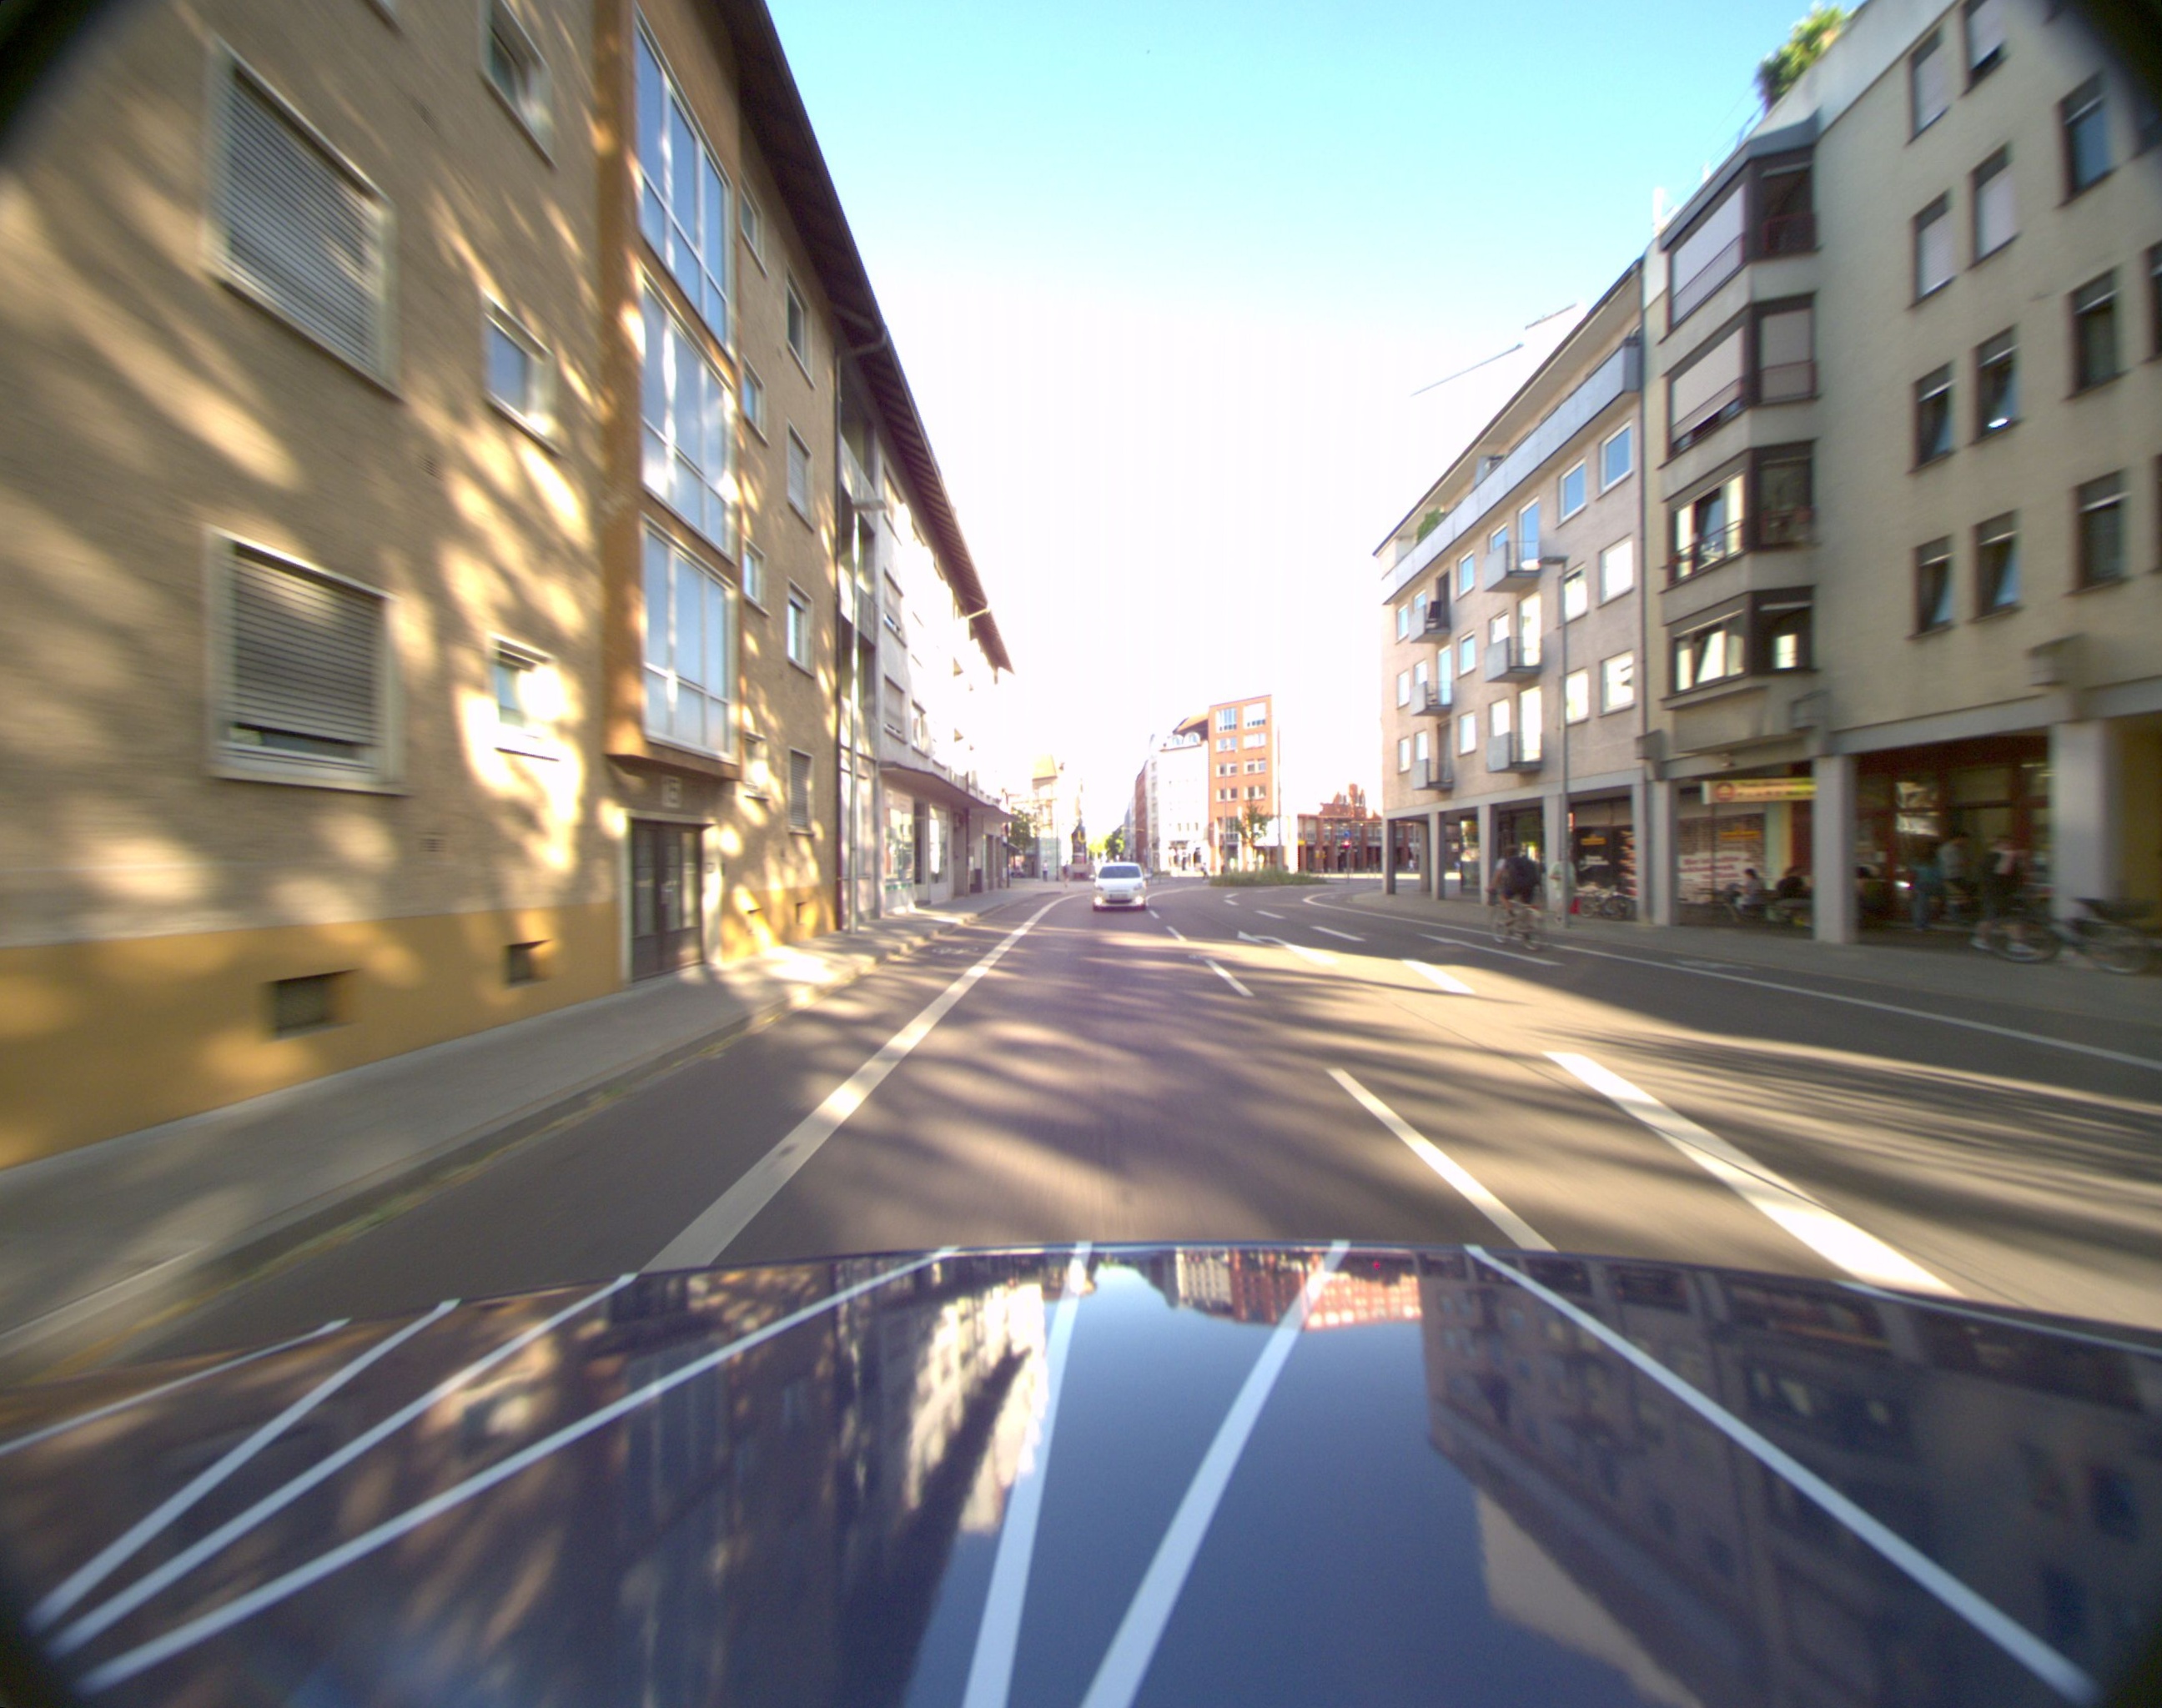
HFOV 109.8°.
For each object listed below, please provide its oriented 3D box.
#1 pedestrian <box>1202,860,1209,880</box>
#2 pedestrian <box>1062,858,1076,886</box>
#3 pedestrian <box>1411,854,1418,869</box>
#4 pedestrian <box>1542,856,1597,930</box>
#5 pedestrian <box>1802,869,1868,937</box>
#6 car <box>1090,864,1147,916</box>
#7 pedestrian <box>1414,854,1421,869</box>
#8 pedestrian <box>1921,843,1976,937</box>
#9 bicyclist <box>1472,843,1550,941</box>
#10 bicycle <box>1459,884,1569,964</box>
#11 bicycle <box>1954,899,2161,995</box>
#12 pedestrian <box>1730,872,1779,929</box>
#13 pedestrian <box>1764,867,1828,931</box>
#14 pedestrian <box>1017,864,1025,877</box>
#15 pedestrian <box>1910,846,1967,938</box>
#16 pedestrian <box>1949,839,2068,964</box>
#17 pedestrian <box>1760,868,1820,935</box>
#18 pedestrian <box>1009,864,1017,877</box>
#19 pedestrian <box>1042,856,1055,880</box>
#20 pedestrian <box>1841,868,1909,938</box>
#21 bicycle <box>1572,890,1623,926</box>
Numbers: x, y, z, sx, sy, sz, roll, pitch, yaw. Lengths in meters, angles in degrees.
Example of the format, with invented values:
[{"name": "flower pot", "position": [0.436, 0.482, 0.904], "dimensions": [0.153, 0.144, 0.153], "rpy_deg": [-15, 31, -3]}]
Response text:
[{"name": "pedestrian", "position": [10.732, 1.359, 65.405], "dimensions": [0.593, 1.737, 0.502], "rpy_deg": [-2, 1, 9]}, {"name": "pedestrian", "position": [-0.820, 1.193, 51.168], "dimensions": [0.706, 1.809, 0.708], "rpy_deg": [3, 1, 16]}, {"name": "pedestrian", "position": [41.155, 0.938, 93.749], "dimensions": [0.553, 1.737, 0.716], "rpy_deg": [-1, 1, 45]}, {"name": "pedestrian", "position": [11.795, 0.934, 18.362], "dimensions": [0.834, 1.730, 0.723], "rpy_deg": [-1, 1, 2]}, {"name": "pedestrian", "position": [15.259, 0.982, 15.397], "dimensions": [0.710, 1.345, 0.615], "rpy_deg": [-1, 1, 7]}, {"name": "car", "position": [1.270, 1.090, 24.491], "dimensions": [1.682, 1.490, 3.686], "rpy_deg": [0, 0, 5]}, {"name": "pedestrian", "position": [41.833, 0.920, 94.386], "dimensions": [0.553, 1.737, 0.716], "rpy_deg": [-1, 1, 45]}, {"name": "pedestrian", "position": [16.554, 0.663, 14.513], "dimensions": [0.613, 1.732, 0.713], "rpy_deg": [-1, 1, 43]}, {"name": "bicyclist", "position": [7.509, 0.638, 13.316], "dimensions": [0.730, 1.631, 1.168], "rpy_deg": [0, 0, 2]}, {"name": "bicycle", "position": [7.499, 1.166, 13.295], "dimensions": [0.730, 1.192, 2.179], "rpy_deg": [1, 0, 2]}, {"name": "bicycle", "position": [12.902, 1.165, 10.034], "dimensions": [0.449, 1.039, 2.011], "rpy_deg": [0, 0, 1]}, {"name": "pedestrian", "position": [15.590, 1.066, 17.598], "dimensions": [0.568, 1.260, 0.689], "rpy_deg": [-1, 0, 12]}, {"name": "pedestrian", "position": [15.554, 0.971, 16.545], "dimensions": [0.710, 1.328, 0.740], "rpy_deg": [-1, 0, 6]}, {"name": "pedestrian", "position": [-5.882, 1.607, 74.396], "dimensions": [0.707, 1.225, 0.770], "rpy_deg": [2, 1, -8]}, {"name": "pedestrian", "position": [15.918, 0.685, 14.119], "dimensions": [0.613, 1.656, 0.713], "rpy_deg": [-1, 1, 43]}, {"name": "pedestrian", "position": [14.333, 0.710, 11.767], "dimensions": [0.825, 1.859, 0.806], "rpy_deg": [-2, 1, 0]}, {"name": "pedestrian", "position": [14.918, 0.993, 15.996], "dimensions": [0.614, 1.360, 0.712], "rpy_deg": [-1, 0, 7]}, {"name": "pedestrian", "position": [-6.643, 1.580, 74.276], "dimensions": [0.707, 1.235, 0.765], "rpy_deg": [2, 1, -8]}, {"name": "pedestrian", "position": [-2.590, 1.123, 60.619], "dimensions": [0.709, 1.809, 0.705], "rpy_deg": [2, 1, -42]}, {"name": "pedestrian", "position": [15.966, 0.971, 15.291], "dimensions": [0.710, 1.370, 0.615], "rpy_deg": [-1, 1, 7]}, {"name": "bicycle", "position": [13.232, 1.367, 19.504], "dimensions": [0.359, 0.819, 1.524], "rpy_deg": [-1, -1, 3]}]
